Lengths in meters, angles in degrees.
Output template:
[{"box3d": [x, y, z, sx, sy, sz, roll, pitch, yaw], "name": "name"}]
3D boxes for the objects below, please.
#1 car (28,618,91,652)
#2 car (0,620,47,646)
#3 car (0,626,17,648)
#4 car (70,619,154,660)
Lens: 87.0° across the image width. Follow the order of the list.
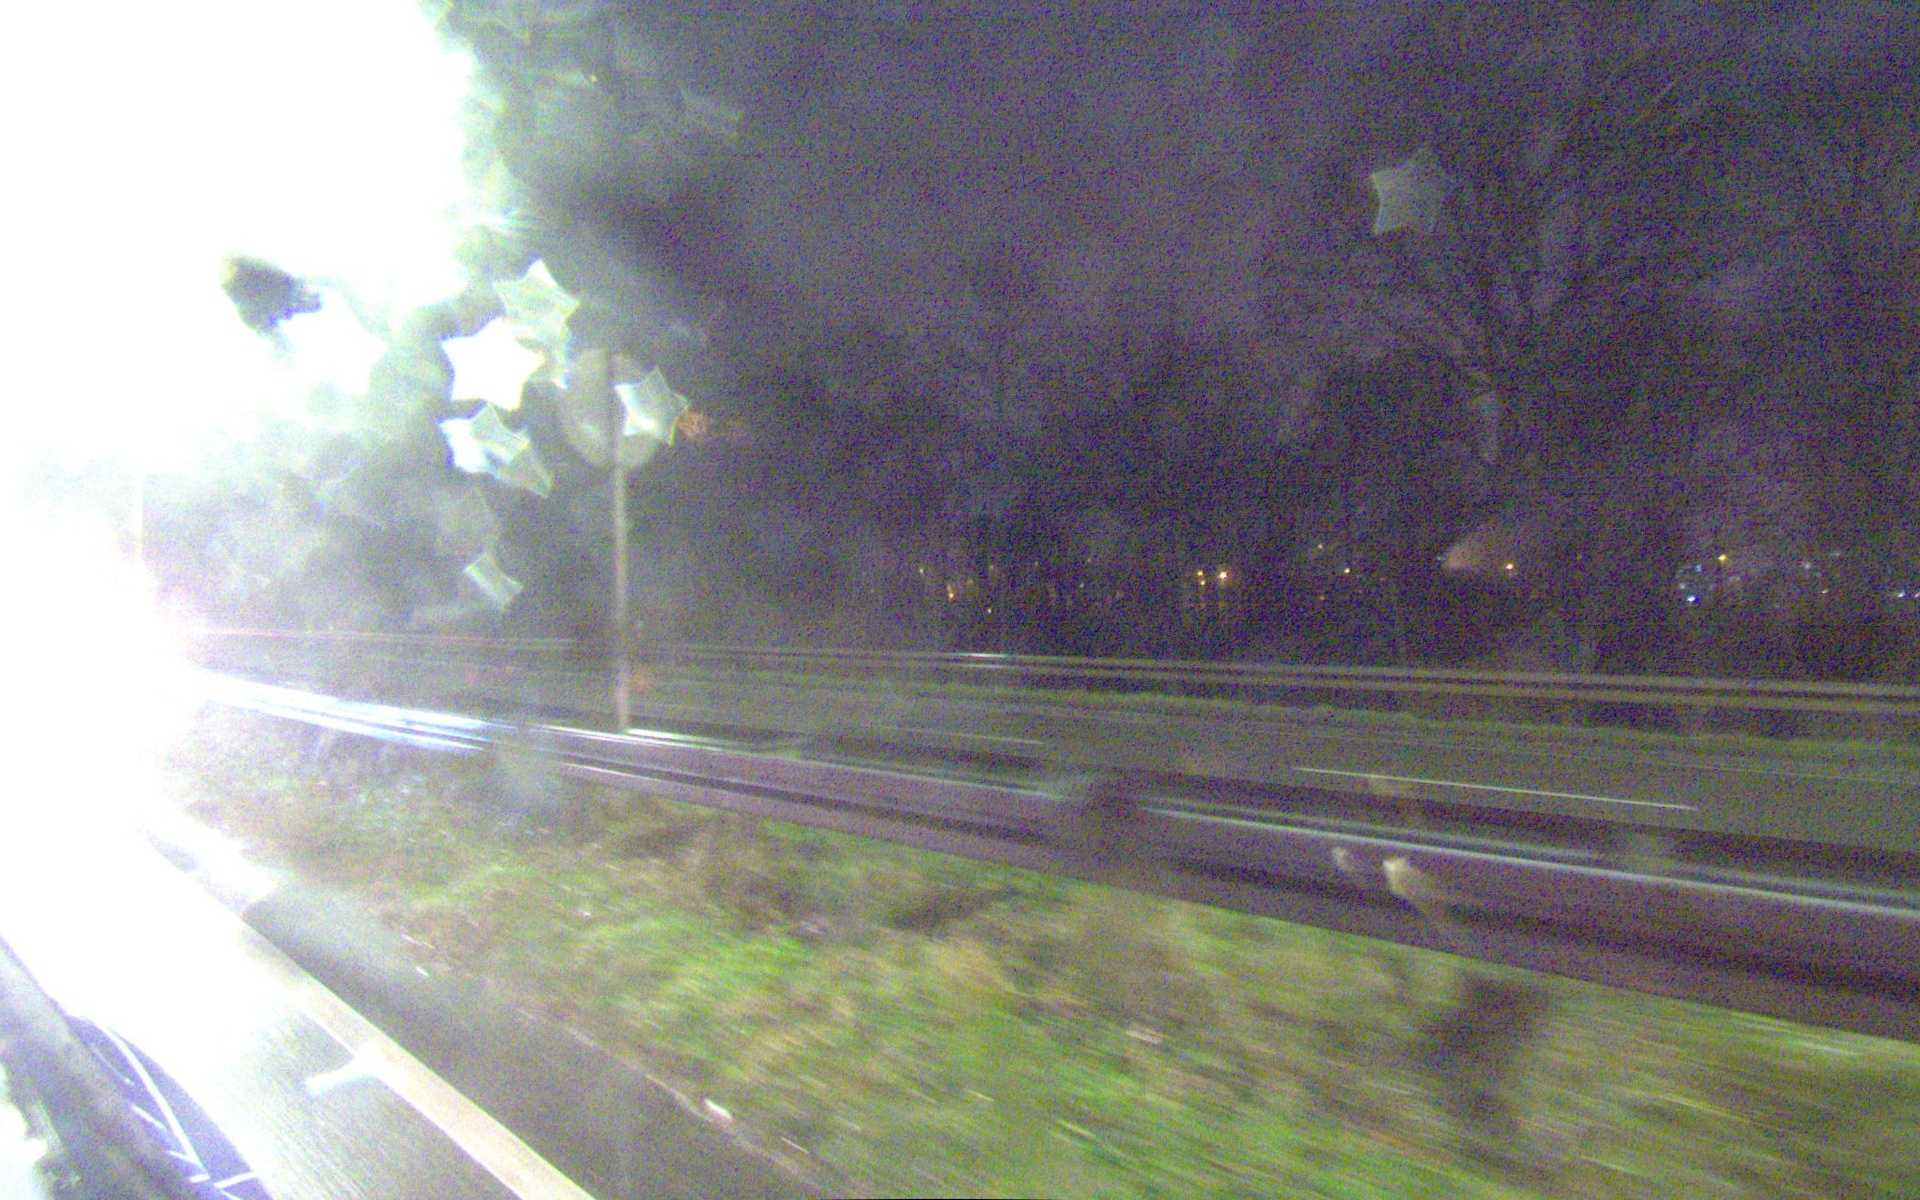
[{"box3d": [-45.083, 1.764, 50.626, 3.998, 1.581, 1.790, -2, -5, 41], "name": "car"}, {"box3d": [-58.096, 2.032, 62.749, 4.157, 1.554, 1.552, -1, -3, 39], "name": "car"}, {"box3d": [-74.864, 2.857, 79.169, 1.601, 1.663, 4.004, 1, -1, -43], "name": "car"}, {"box3d": [-32.055, 1.495, 38.219, 4.461, 1.405, 1.796, -2, -5, 43], "name": "car"}]
